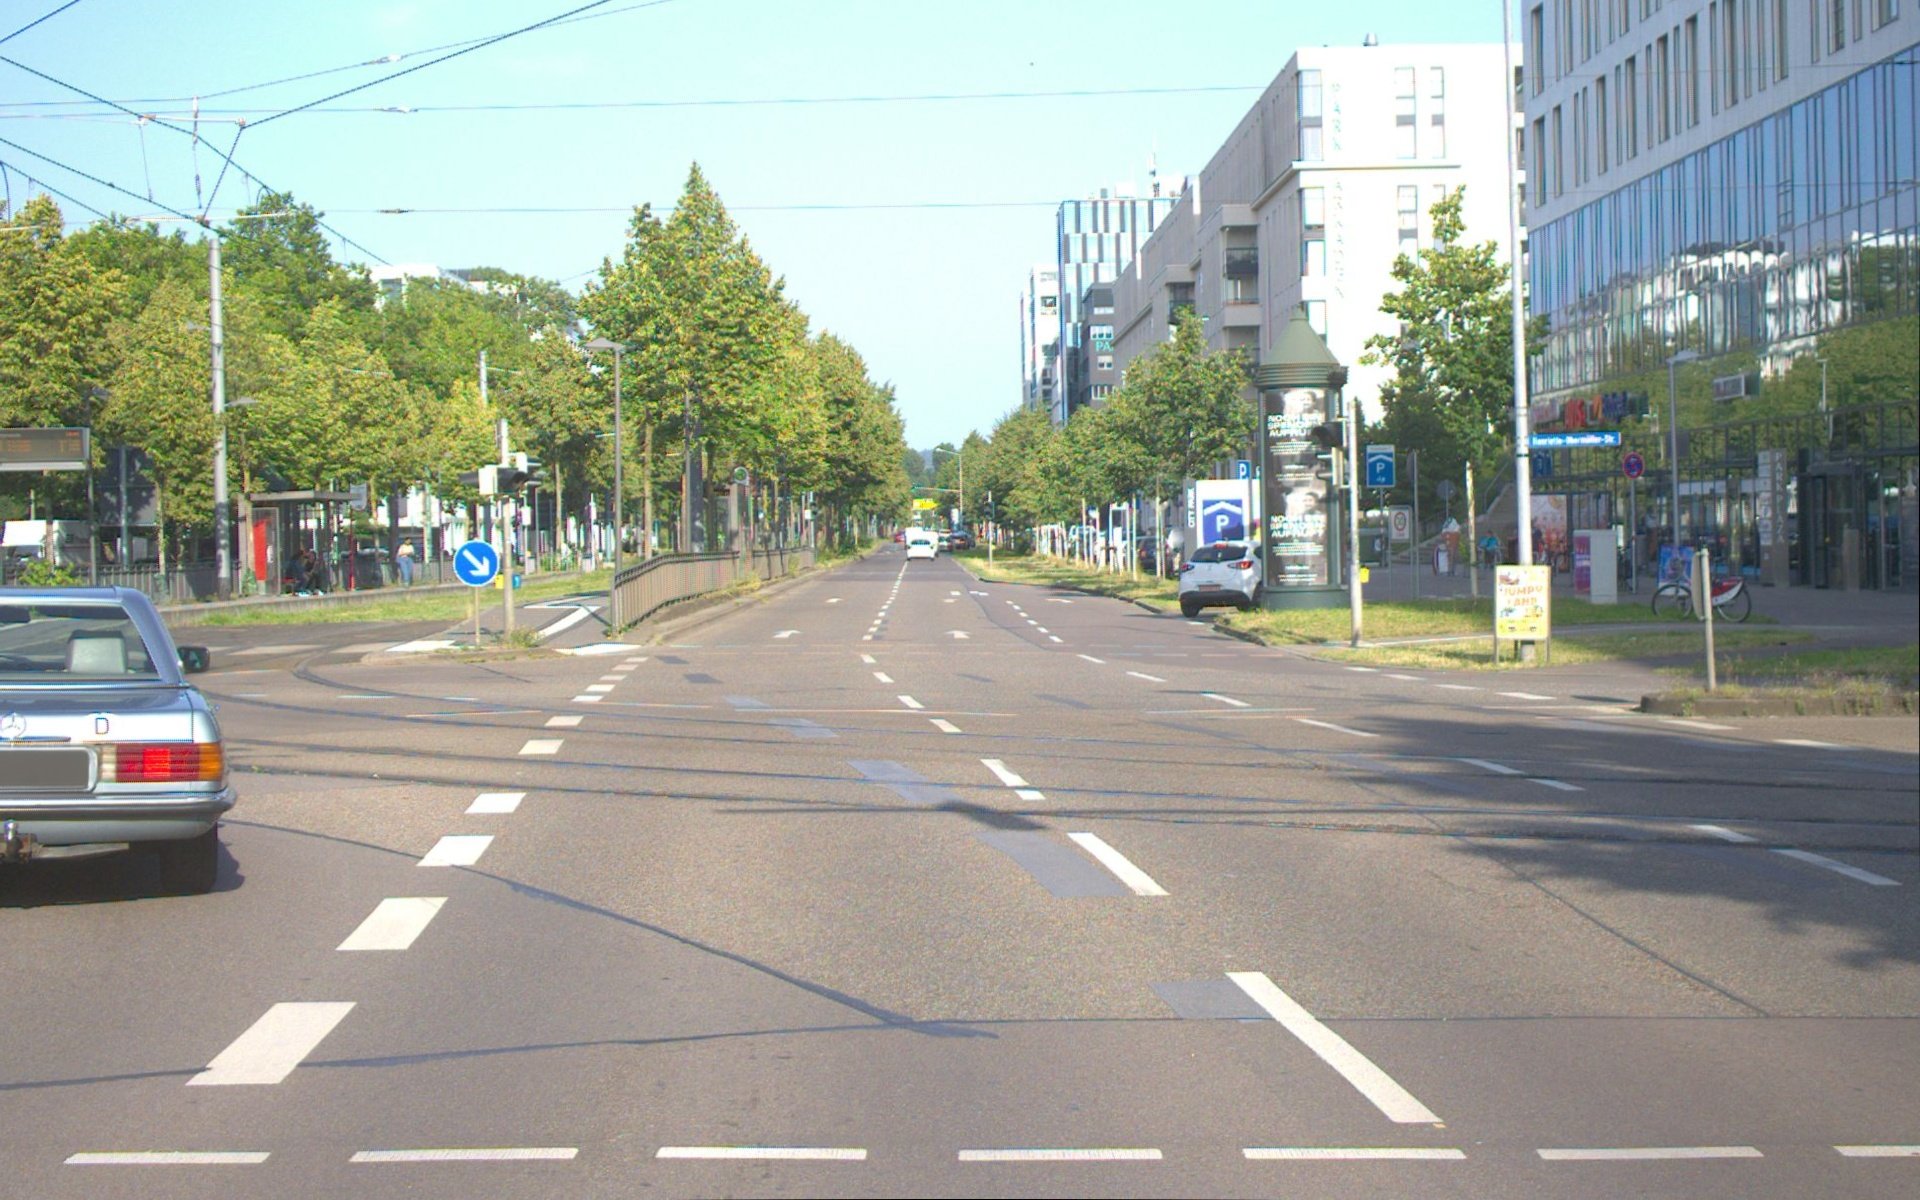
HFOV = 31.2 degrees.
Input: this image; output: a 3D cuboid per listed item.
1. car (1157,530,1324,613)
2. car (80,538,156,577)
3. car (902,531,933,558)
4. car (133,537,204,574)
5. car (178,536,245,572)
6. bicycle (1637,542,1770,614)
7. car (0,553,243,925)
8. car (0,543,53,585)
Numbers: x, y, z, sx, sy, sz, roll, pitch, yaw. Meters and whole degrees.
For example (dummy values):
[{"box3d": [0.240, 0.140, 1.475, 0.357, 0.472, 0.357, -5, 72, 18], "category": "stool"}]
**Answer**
[{"box3d": [5.665, -0.590, 68.999, 1.996, 1.499, 4.088, -4, -1, 25], "category": "car"}, {"box3d": [-35.058, -1.771, 143.257, 1.881, 1.554, 3.999, -1, 1, 5], "category": "car"}, {"box3d": [-2.678, -3.490, 215.539, 1.864, 1.678, 4.000, 1, 2, 0], "category": "car"}, {"box3d": [-34.403, -1.934, 149.508, 1.881, 1.554, 3.999, -1, 1, 5], "category": "car"}, {"box3d": [-33.930, -2.105, 155.930, 1.881, 1.554, 3.999, -1, 1, 5], "category": "car"}, {"box3d": [11.445, -0.344, 52.984, 0.771, 1.028, 1.878, -2, 4, -44], "category": "bicycle"}, {"box3d": [-4.027, 0.488, 14.785, 1.763, 1.325, 4.401, -1, 1, -11], "category": "car"}, {"box3d": [-35.680, -1.361, 129.090, 1.881, 1.554, 3.999, -1, 1, 5], "category": "car"}]
